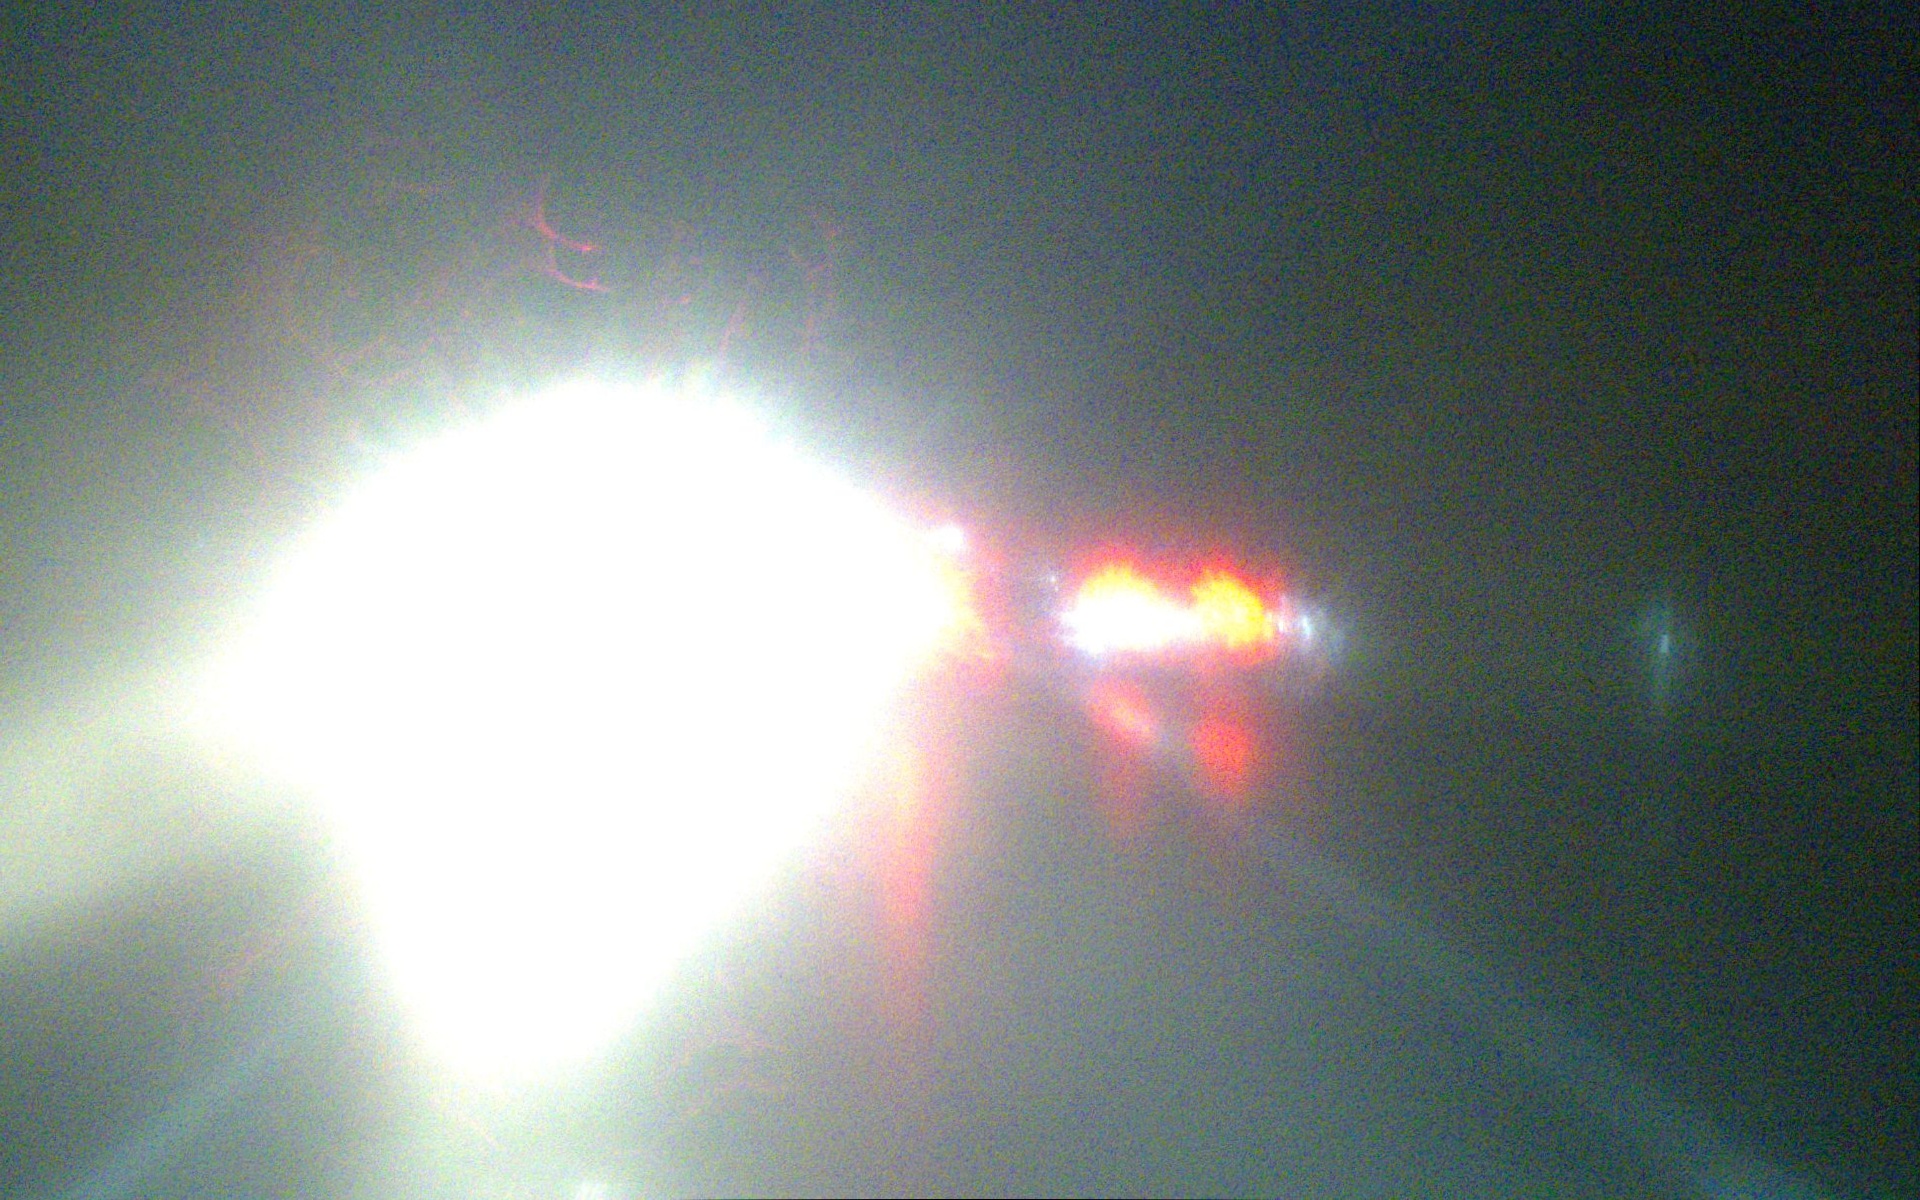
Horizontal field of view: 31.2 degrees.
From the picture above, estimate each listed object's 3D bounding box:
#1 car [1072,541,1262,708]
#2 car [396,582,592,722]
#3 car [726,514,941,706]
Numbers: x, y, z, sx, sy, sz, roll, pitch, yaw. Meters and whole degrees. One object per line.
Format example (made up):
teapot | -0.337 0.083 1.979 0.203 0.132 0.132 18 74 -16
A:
car | 2.615 0.278 44.347 2.093 2.007 4.000 2 1 -1
car | -5.466 0.581 40.767 1.993 1.493 3.775 2 1 -4
car | -1.200 0.062 31.501 1.808 1.616 4.001 1 1 -3
